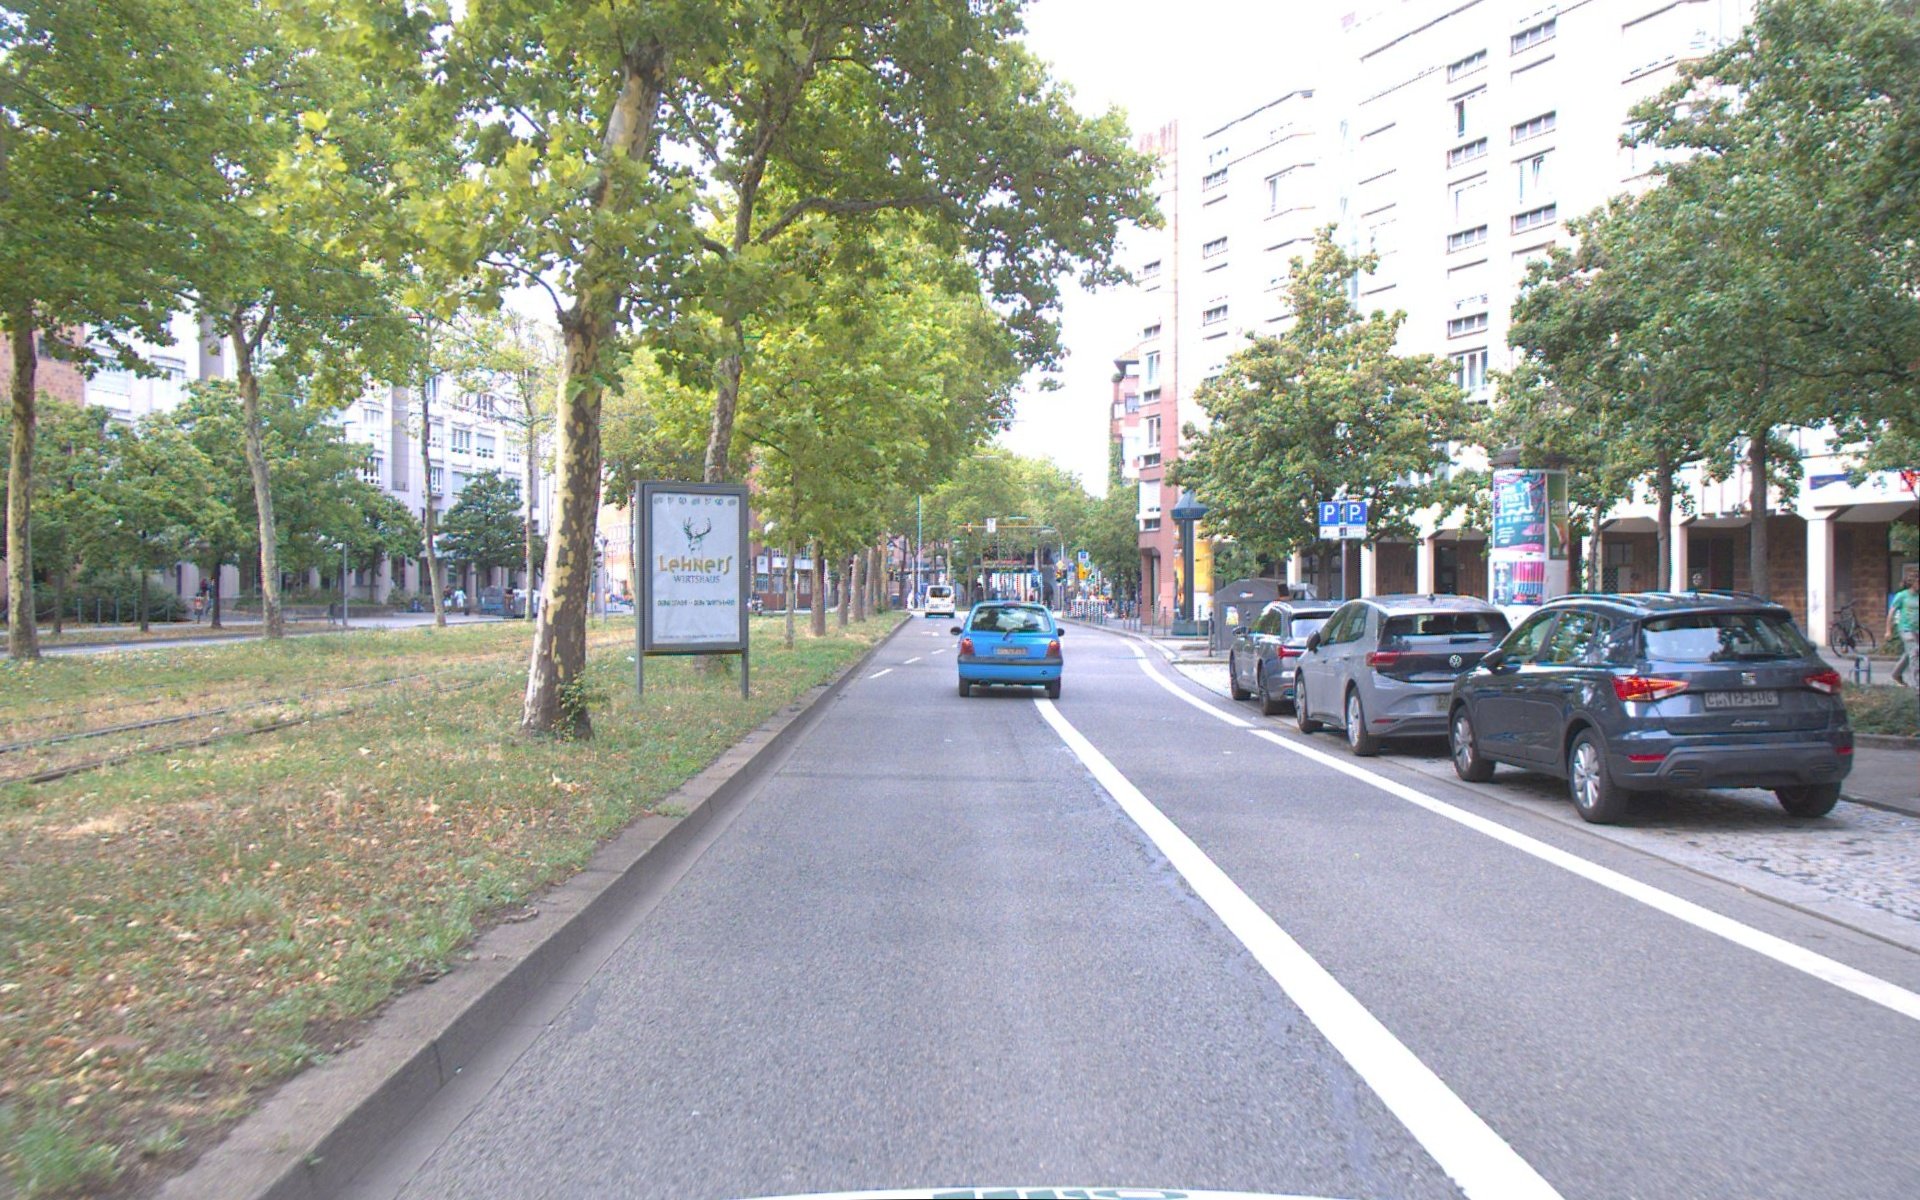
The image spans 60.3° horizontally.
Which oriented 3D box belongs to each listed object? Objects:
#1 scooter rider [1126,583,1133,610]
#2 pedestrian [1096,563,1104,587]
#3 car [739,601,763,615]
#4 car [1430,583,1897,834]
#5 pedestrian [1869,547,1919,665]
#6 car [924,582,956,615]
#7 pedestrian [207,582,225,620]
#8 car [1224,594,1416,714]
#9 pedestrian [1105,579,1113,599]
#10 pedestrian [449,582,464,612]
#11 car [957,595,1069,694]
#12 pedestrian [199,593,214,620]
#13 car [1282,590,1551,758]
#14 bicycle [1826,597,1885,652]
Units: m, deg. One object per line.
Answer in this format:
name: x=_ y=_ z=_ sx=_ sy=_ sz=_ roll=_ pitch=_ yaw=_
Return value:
scooter rider: x=10.809 y=-0.236 z=105.455 sx=0.453 sy=1.750 sz=0.553 roll=0 pitch=0 yaw=4
pedestrian: x=9.629 y=-1.729 z=113.908 sx=0.506 sy=1.644 sz=0.851 roll=0 pitch=0 yaw=5
car: x=-19.225 y=0.702 z=152.389 sx=1.694 sy=1.267 sz=4.533 roll=0 pitch=0 yaw=-1
car: x=5.103 y=0.680 z=12.687 sx=1.680 sy=1.545 sz=4.203 roll=-2 pitch=0 yaw=-1
pedestrian: x=13.085 y=0.083 z=22.986 sx=0.592 sy=1.614 sz=0.682 roll=0 pitch=0 yaw=9
car: x=-1.231 y=-0.121 z=102.213 sx=1.892 sy=1.959 sz=4.955 roll=0 pitch=0 yaw=0
pedestrian: x=-34.432 y=0.053 z=76.524 sx=0.541 sy=1.735 sz=0.626 roll=0 pitch=0 yaw=4
car: x=4.875 y=0.665 z=23.013 sx=1.779 sy=1.468 sz=4.667 roll=-1 pitch=0 yaw=2
pedestrian: x=11.870 y=-0.853 z=131.658 sx=0.661 sy=1.565 sz=0.948 roll=0 pitch=0 yaw=7
pedestrian: x=-29.409 y=-0.173 z=96.569 sx=0.541 sy=1.735 sz=0.885 roll=0 pitch=0 yaw=4
car: x=0.765 y=0.642 z=25.830 sx=1.607 sy=1.410 sz=3.843 roll=1 pitch=0 yaw=0
pedestrian: x=-37.220 y=0.305 z=81.695 sx=0.447 sy=1.346 sz=0.555 roll=0 pitch=0 yaw=11
car: x=4.740 y=0.682 z=17.823 sx=1.704 sy=1.545 sz=4.401 roll=-1 pitch=0 yaw=1
bicycle: x=19.065 y=0.507 z=35.197 sx=0.587 sy=1.132 sz=1.950 roll=0 pitch=0 yaw=44
